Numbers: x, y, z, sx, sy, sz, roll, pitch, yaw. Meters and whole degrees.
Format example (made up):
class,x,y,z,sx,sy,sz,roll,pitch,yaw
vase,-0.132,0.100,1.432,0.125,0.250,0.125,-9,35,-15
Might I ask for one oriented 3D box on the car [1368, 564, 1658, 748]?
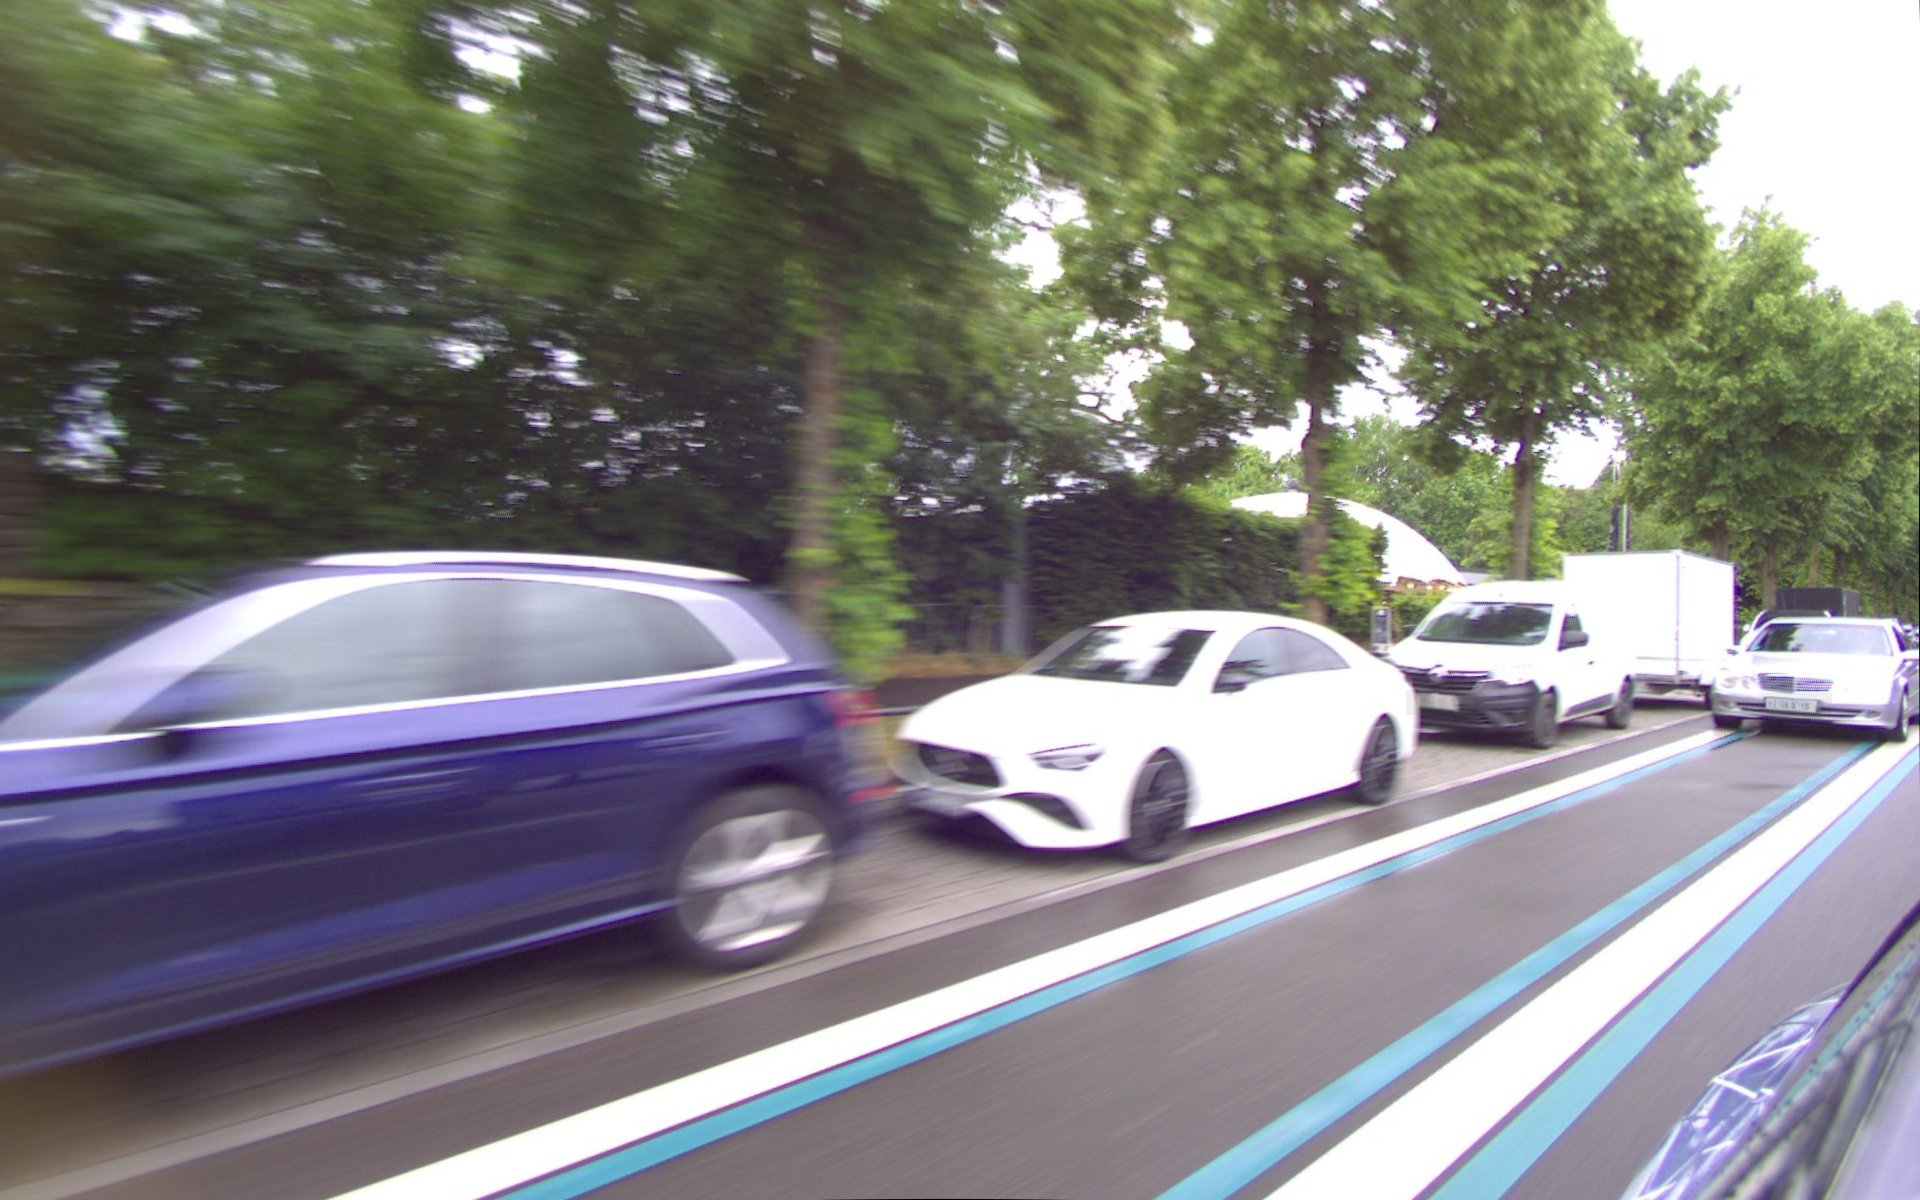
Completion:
class,x,y,z,sx,sy,sz,roll,pitch,yaw
car,6.697,0.570,12.044,4.270,1.813,1.724,1,-1,-42

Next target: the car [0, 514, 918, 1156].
class,x,y,z,sx,sy,sz,roll,pitch,yaw
car,-2.507,0.580,3.762,4.567,1.580,1.994,1,0,-45

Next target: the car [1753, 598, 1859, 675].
class,x,y,z,sx,sy,sz,roll,pitch,yaw
car,19.825,0.796,23.648,1.755,1.605,4.346,0,0,42

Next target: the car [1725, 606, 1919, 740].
class,x,y,z,sx,sy,sz,roll,pitch,yaw
car,11.449,0.820,13.071,4.512,1.416,1.724,1,0,-42

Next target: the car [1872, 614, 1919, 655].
class,x,y,z,sx,sy,sz,roll,pitch,yaw
car,35.824,1.279,38.320,3.934,1.444,1.691,1,0,-44

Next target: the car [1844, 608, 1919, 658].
class,x,y,z,sx,sy,sz,roll,pitch,yaw
car,31.652,1.113,34.534,4.264,1.592,1.691,1,-2,-42

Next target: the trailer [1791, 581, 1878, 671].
class,x,y,z,sx,sy,sz,roll,pitch,yaw
trailer,23.653,0.679,27.348,3.502,2.298,1.348,1,-1,-42

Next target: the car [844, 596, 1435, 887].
class,x,y,z,sx,sy,sz,roll,pitch,yaw
car,1.525,0.728,7.173,4.537,1.444,1.662,1,0,-41

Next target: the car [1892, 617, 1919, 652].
class,x,y,z,sx,sy,sz,roll,pitch,yaw
car,40.237,1.440,42.254,4.014,1.400,1.687,1,-1,-43

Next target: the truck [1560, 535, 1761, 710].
class,x,y,z,sx,sy,sz,roll,pitch,yaw
truck,10.916,0.321,15.679,3.931,2.363,1.721,1,-1,-42
